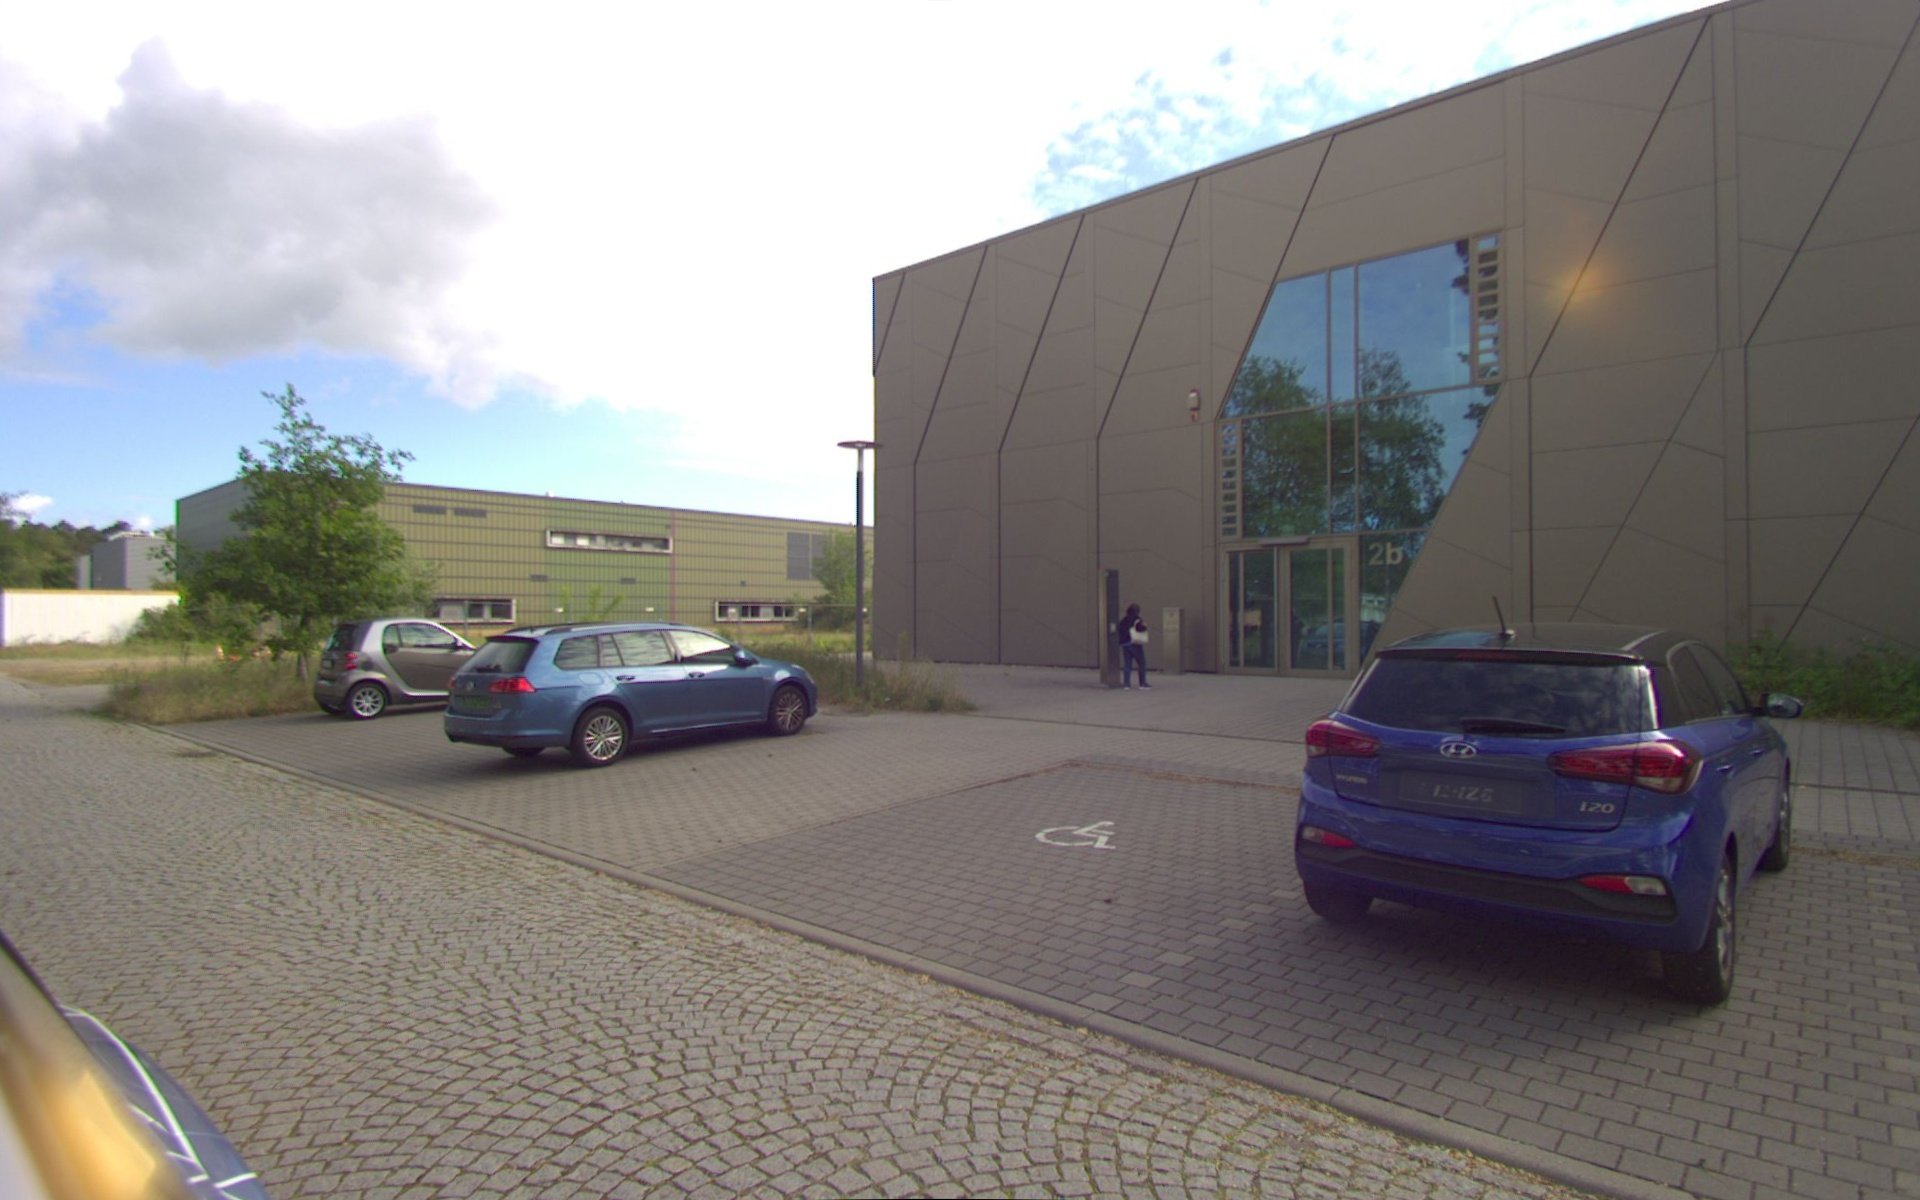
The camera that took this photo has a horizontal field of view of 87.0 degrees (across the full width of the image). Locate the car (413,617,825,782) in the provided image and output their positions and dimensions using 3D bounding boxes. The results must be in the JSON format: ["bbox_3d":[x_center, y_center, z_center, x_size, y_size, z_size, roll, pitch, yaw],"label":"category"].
[{"bbox_3d":[-3.720,0.982,11.729,1.771,1.439,4.265,-1,0,38],"label":"car"}]

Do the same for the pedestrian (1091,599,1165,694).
[{"bbox_3d":[2.855,0.764,17.137,0.818,1.506,0.973,-1,1,40],"label":"pedestrian"}]

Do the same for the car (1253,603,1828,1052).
[{"bbox_3d":[3.345,0.804,5.487,1.852,1.489,3.724,-2,0,44],"label":"car"}]

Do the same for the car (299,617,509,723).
[{"bbox_3d":[-9.120,1.078,16.686,1.609,1.522,2.627,-2,0,40],"label":"car"}]
